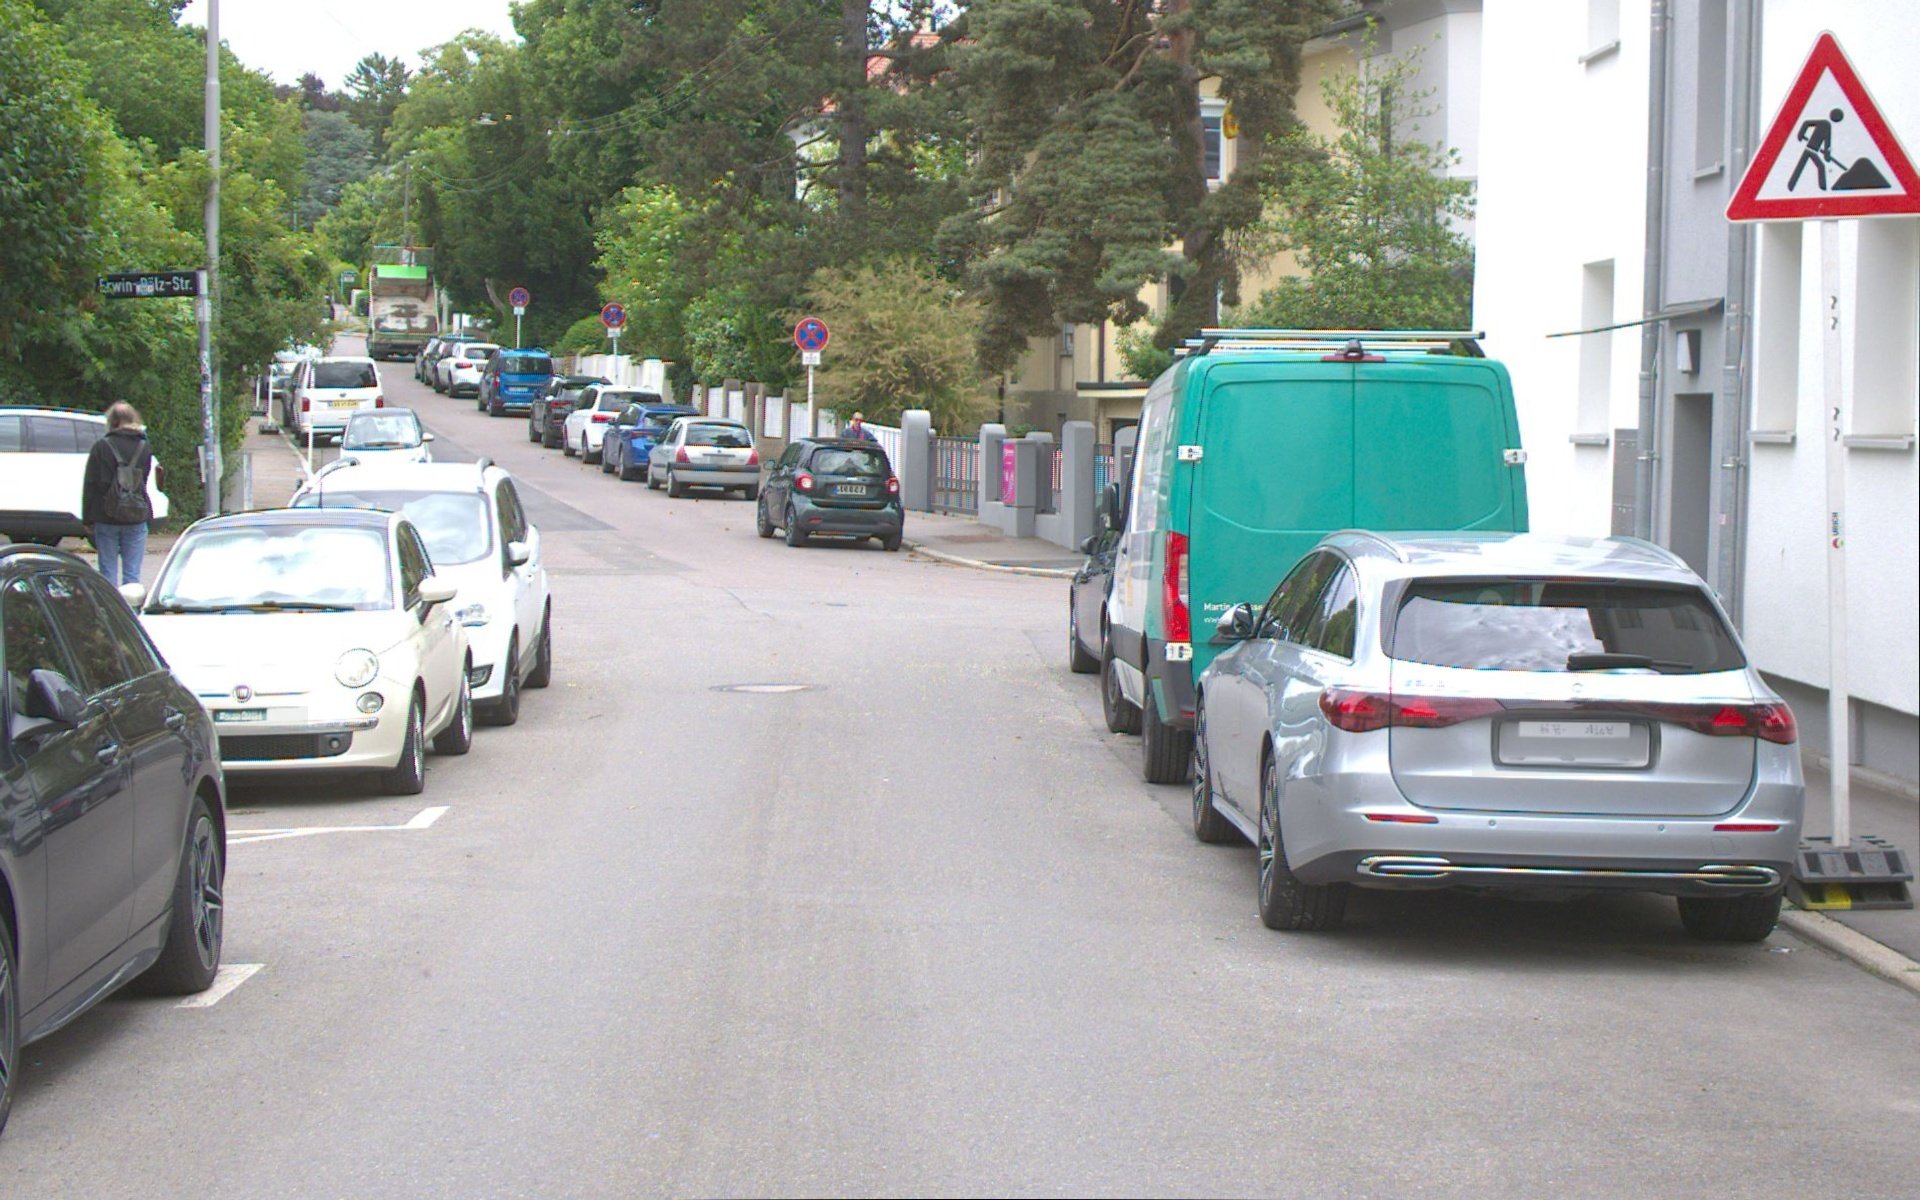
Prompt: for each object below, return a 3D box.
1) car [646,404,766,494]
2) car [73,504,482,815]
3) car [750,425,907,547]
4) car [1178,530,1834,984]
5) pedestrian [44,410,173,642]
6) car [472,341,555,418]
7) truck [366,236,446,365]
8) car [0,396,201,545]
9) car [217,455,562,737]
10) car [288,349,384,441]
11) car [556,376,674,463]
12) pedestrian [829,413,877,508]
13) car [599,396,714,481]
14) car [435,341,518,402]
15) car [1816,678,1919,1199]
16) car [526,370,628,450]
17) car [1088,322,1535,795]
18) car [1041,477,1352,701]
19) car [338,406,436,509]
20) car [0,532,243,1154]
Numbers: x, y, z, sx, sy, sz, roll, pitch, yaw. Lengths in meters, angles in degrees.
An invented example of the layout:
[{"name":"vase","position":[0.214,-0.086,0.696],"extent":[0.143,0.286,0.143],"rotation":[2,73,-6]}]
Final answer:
[{"name":"car","position":[-4.609,-2.739,61.910],"extent":[1.573,1.395,3.657],"rotation":[2,5,-13]},{"name":"car","position":[-3.651,0.247,18.952],"extent":[1.607,1.448,3.614],"rotation":[-2,2,-2]},{"name":"car","position":[-1.935,-1.671,49.839],"extent":[1.571,1.526,2.869],"rotation":[3,4,-16]},{"name":"car","position":[1.980,0.487,13.782],"extent":[1.824,1.440,4.384],"rotation":[2,2,-1]},{"name":"pedestrian","position":[-6.646,-0.588,26.854],"extent":[0.820,1.753,0.644],"rotation":[3,3,-4]},{"name":"car","position":[-12.053,-5.948,92.561],"extent":[1.682,1.822,4.159],"rotation":[2,5,-14]},{"name":"truck","position":[-21.427,-11.598,132.777],"extent":[2.523,4.731,7.191],"rotation":[1,5,-13]},{"name":"car","position":[-11.225,-1.535,39.807],"extent":[1.833,1.649,4.504],"rotation":[6,4,41]},{"name":"car","position":[-3.776,-0.109,23.416],"extent":[1.804,1.653,4.152],"rotation":[0,4,-2]},{"name":"car","position":[-14.083,-4.647,77.434],"extent":[1.854,1.906,4.622],"rotation":[-2,5,-13]},{"name":"car","position":[-7.333,-3.847,72.758],"extent":[1.784,1.597,4.307],"rotation":[2,5,-15]},{"name":"pedestrian","position":[-1.812,-2.361,58.005],"extent":[0.681,1.571,0.907],"rotation":[-2,3,-7]},{"name":"car","position":[-5.921,-3.159,66.747],"extent":[1.647,1.453,4.054],"rotation":[1,4,-13]},{"name":"car","position":[-14.501,-6.865,102.958],"extent":[1.757,1.600,4.578],"rotation":[1,5,-17]},{"name":"car","position":[2.312,1.110,3.278],"extent":[1.776,1.714,4.001],"rotation":[1,3,-4]},{"name":"car","position":[-8.762,-4.353,78.458],"extent":[1.749,1.602,4.078],"rotation":[2,4,-14]},{"name":"car","position":[1.900,-0.300,20.286],"extent":[1.993,2.414,5.294],"rotation":[0,2,-1]},{"name":"car","position":[1.725,-0.149,26.489],"extent":[1.818,1.480,4.288],"rotation":[1,3,-4]},{"name":"car","position":[-9.759,-2.454,58.673],"extent":[1.442,1.546,2.771],"rotation":[-2,6,-6]},{"name":"car","position":[-3.281,0.571,9.576],"extent":[1.802,1.475,4.329],"rotation":[0,2,-2]}]
